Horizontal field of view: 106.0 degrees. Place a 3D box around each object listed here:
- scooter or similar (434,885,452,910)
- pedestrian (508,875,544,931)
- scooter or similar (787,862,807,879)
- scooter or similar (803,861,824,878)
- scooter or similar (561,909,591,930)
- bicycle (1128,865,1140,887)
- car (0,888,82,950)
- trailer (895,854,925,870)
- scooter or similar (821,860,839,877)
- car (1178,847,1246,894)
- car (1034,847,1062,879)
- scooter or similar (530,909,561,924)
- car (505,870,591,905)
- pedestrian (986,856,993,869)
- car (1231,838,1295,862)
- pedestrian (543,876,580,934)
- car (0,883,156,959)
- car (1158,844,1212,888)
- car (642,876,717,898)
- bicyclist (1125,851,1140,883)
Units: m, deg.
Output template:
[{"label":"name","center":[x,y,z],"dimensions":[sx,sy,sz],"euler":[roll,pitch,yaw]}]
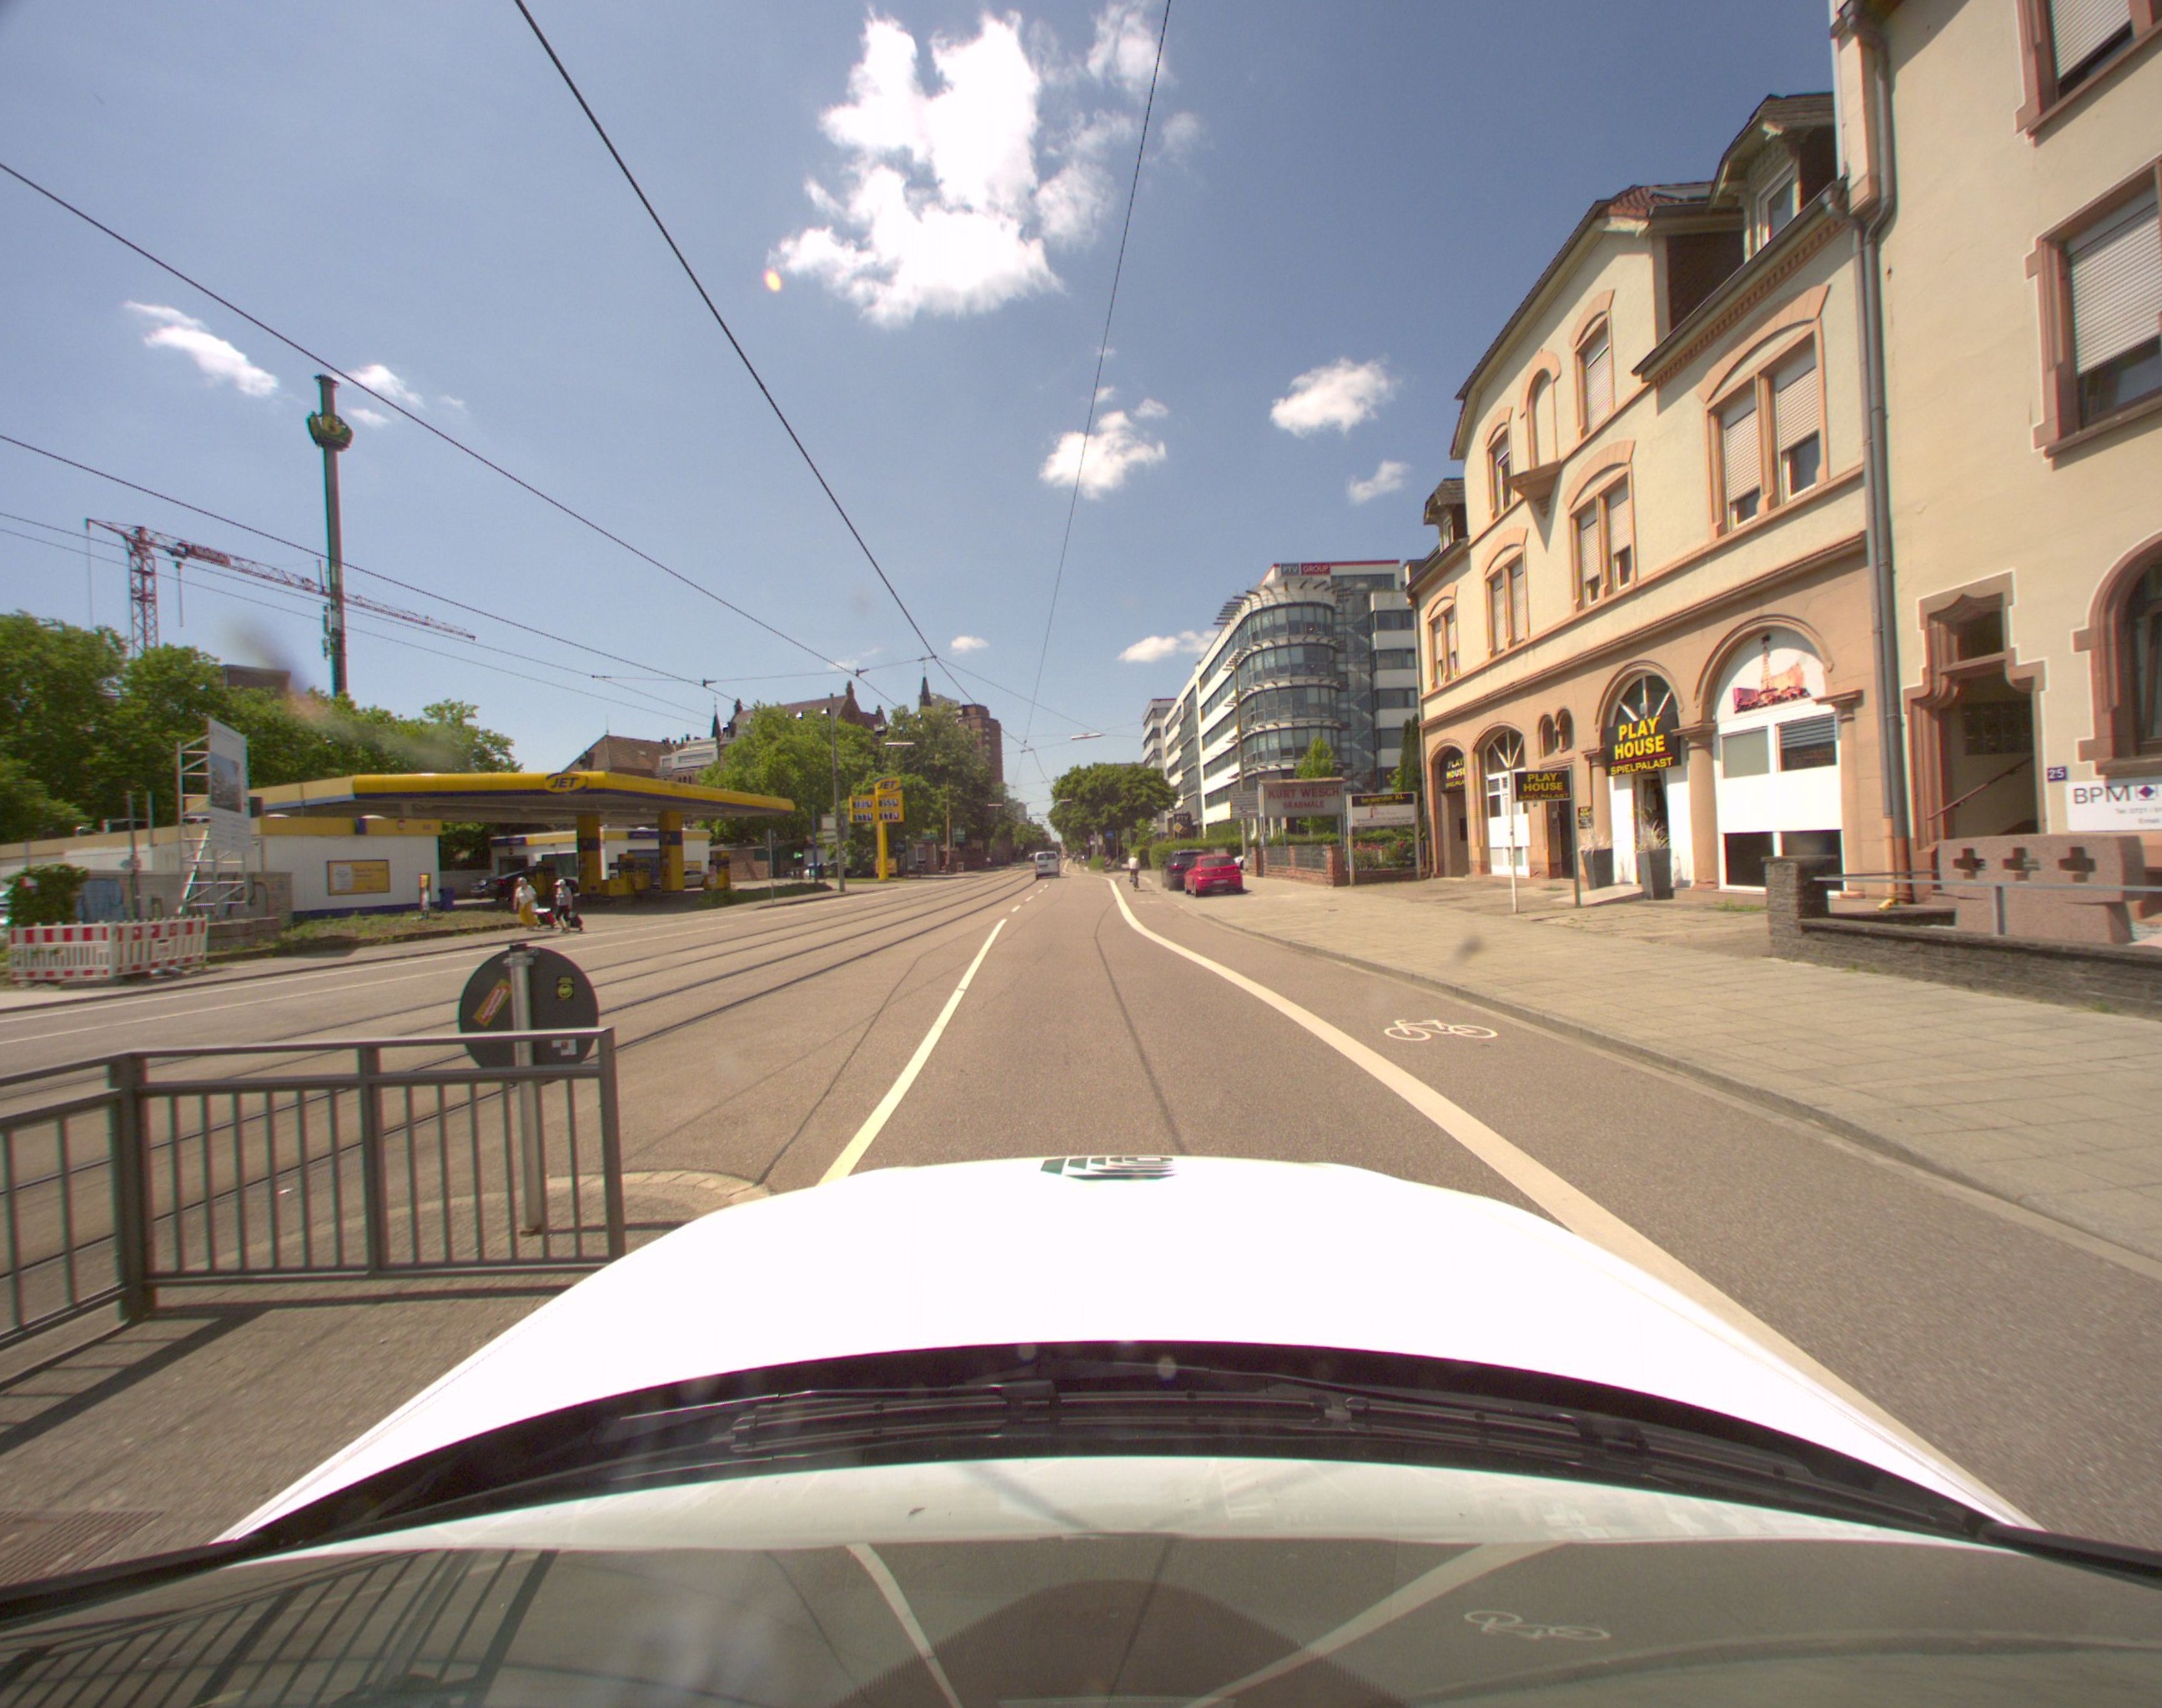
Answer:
[{"label":"scooter or similar","center":[-24.312,1.650,31.041],"dimensions":[0.404,0.930,0.327],"euler":[-2,0,2]},{"label":"pedestrian","center":[-16.977,1.495,24.926],"dimensions":[0.550,1.658,0.674],"euler":[-2,0,6]},{"label":"scooter or similar","center":[-25.503,1.453,73.194],"dimensions":[1.305,1.466,1.062],"euler":[-2,0,10]},{"label":"scooter or similar","center":[-23.786,1.398,72.380],"dimensions":[1.305,1.466,1.062],"euler":[-3,-1,10]},{"label":"scooter or similar","center":[-15.444,2.004,24.908],"dimensions":[0.473,0.581,0.633],"euler":[-2,0,10]},{"label":"bicycle","center":[2.328,0.968,36.078],"dimensions":[0.464,0.887,2.049],"euler":[-2,0,3]},{"label":"car","center":[-31.460,1.861,23.724],"dimensions":[3.969,1.463,1.768],"euler":[1,1,21]},{"label":"trailer","center":[-17.254,0.777,82.182],"dimensions":[2.719,1.526,1.329],"euler":[-2,-1,0]},{"label":"scooter or similar","center":[-22.099,1.250,71.708],"dimensions":[1.167,1.466,1.060],"euler":[-3,-1,4]},{"label":"car","center":[4.700,0.547,29.820],"dimensions":[1.707,1.452,4.071],"euler":[-4,0,-1]},{"label":"car","center":[-2.313,0.571,57.306],"dimensions":[1.747,2.013,3.999],"euler":[-4,1,-1]},{"label":"scooter or similar","center":[-16.887,1.971,25.680],"dimensions":[0.471,0.394,0.674],"euler":[-2,0,6]},{"label":"car","center":[-30.907,1.903,47.329],"dimensions":[1.584,1.703,3.792],"euler":[-5,-1,24]},{"label":"pedestrian","center":[-13.967,1.292,124.385],"dimensions":[0.862,2.013,0.645],"euler":[-4,-1,-4]},{"label":"car","center":[11.866,-0.279,53.311],"dimensions":[3.787,1.275,1.555],"euler":[-4,0,-1]},{"label":"pedestrian","center":[-15.398,1.504,24.135],"dimensions":[0.577,1.671,0.668],"euler":[-2,0,7]},{"label":"car","center":[-25.060,1.589,20.088],"dimensions":[2.067,1.567,3.956],"euler":[-2,0,-36]},{"label":"car","center":[4.526,0.477,36.077],"dimensions":[1.856,1.687,5.003],"euler":[-3,0,2]},{"label":"car","center":[-30.325,2.467,61.697],"dimensions":[1.819,1.365,5.036],"euler":[-3,0,22]},{"label":"bicyclist","center":[2.280,0.562,36.072],"dimensions":[0.589,1.397,0.842],"euler":[-2,0,2]}]
